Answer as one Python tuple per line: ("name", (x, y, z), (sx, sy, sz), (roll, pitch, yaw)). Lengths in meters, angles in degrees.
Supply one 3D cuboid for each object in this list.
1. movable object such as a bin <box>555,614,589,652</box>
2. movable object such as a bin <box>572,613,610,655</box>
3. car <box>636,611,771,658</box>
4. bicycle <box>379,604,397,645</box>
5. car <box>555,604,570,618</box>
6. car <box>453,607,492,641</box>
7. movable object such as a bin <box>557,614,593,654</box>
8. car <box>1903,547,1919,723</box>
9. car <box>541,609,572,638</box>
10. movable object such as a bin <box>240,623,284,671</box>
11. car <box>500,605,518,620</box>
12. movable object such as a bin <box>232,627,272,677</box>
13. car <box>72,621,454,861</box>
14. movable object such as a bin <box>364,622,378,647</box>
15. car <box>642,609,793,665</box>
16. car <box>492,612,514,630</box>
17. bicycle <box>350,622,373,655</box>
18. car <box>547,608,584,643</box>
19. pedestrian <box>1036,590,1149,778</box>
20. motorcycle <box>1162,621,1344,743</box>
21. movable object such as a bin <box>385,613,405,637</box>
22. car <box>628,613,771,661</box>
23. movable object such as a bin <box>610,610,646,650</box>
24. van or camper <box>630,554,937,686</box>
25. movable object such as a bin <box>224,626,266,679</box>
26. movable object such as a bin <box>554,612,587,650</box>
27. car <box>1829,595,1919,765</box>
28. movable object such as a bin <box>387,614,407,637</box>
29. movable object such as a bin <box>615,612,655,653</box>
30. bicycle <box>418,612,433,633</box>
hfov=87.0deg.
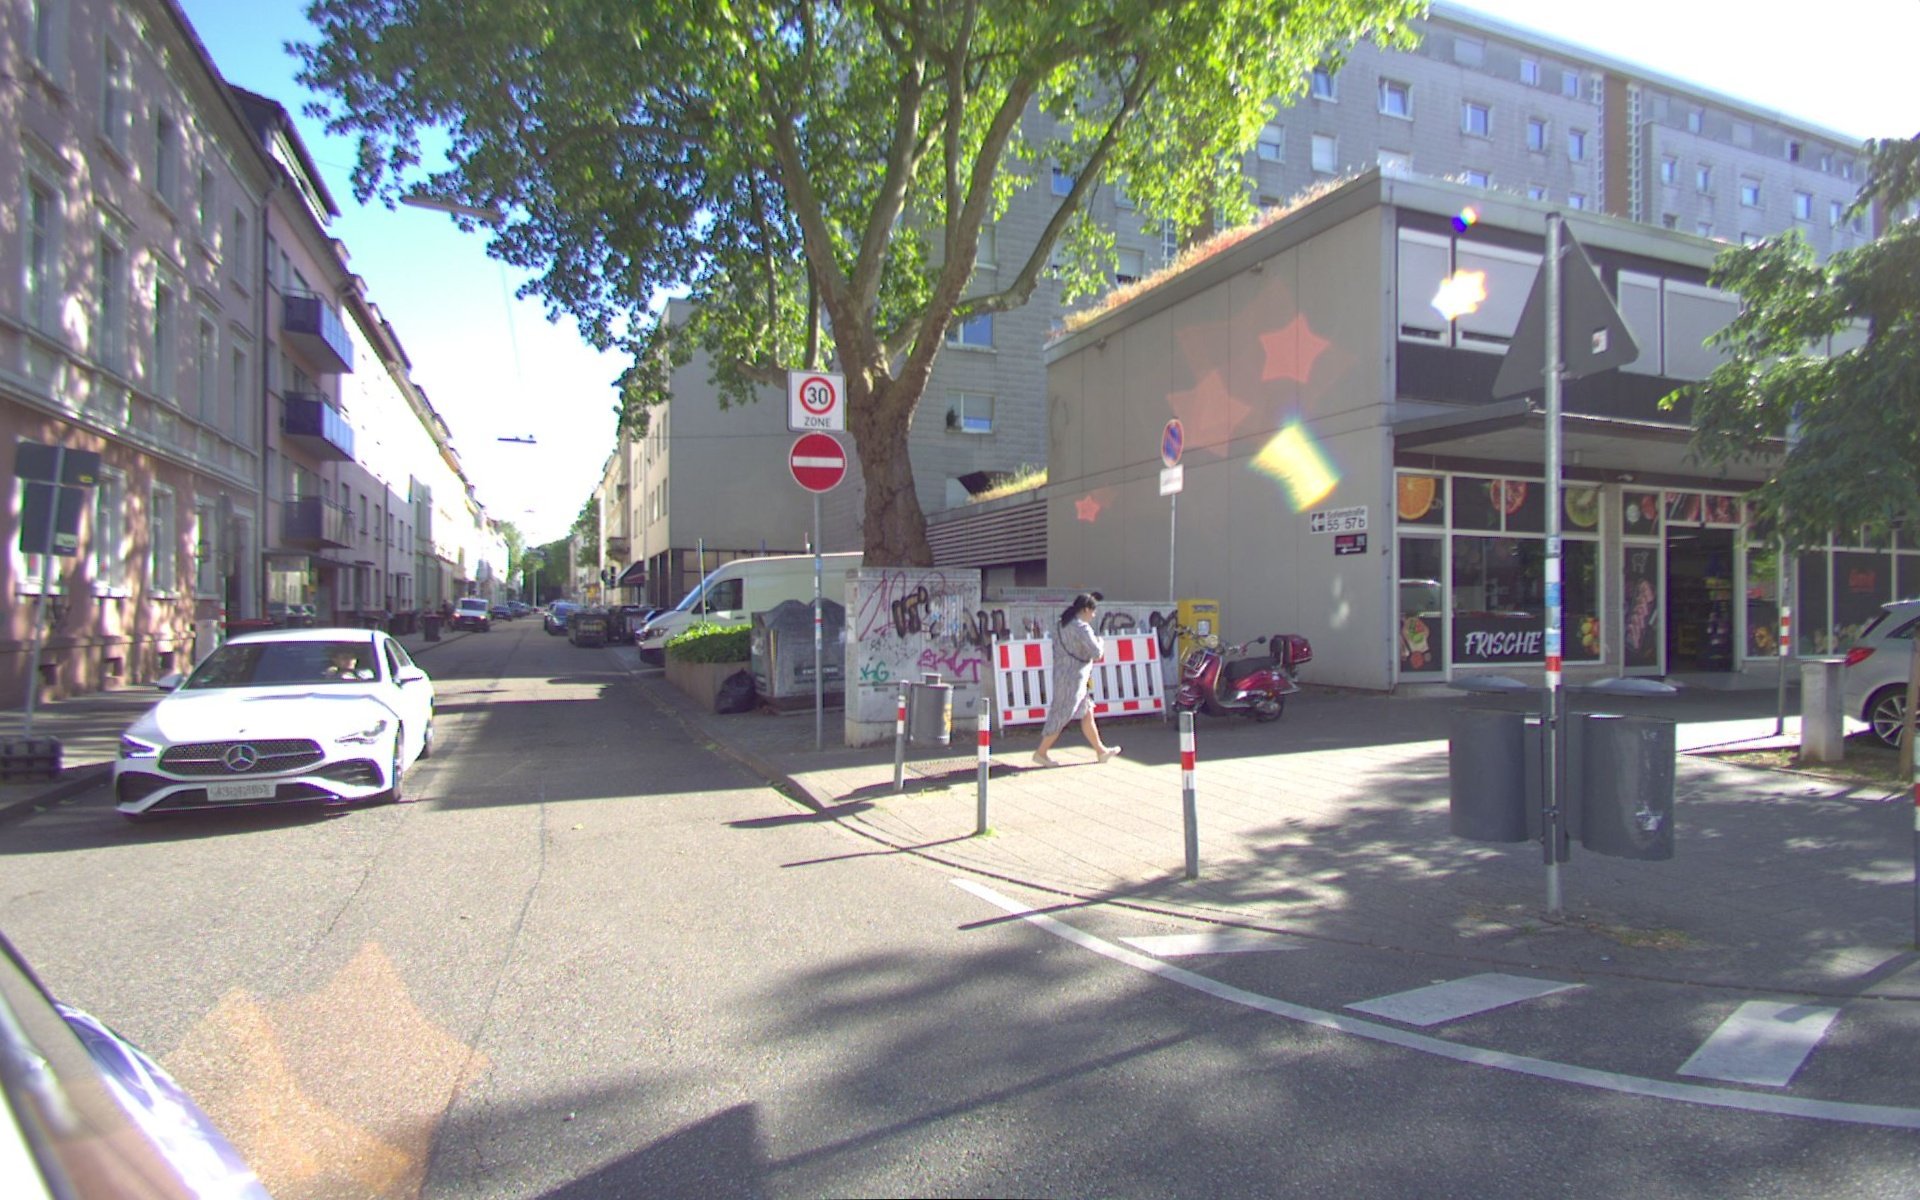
("movable object such as a bin", (-15.755, 1.330, 41.111), (1.201, 1.512, 1.565), (0, 0, -24))
("movable object such as a bin", (-13.903, 1.272, 38.142), (1.220, 1.512, 1.883), (0, 0, -24))
("car", (-9.077, 1.173, 35.874), (4.342, 1.545, 1.704), (0, -1, -28))
("bicycle", (-24.990, 1.062, 44.205), (0.396, 1.749, 2.114), (0, -1, -21))
("car", (-50.256, 1.384, 127.875), (1.736, 1.721, 4.342), (0, -1, -22))
("car", (-28.774, 1.376, 59.773), (1.736, 1.867, 4.342), (0, 0, -21))
("movable object such as a bin", (-15.023, 1.297, 39.479), (1.226, 1.512, 1.932), (0, 0, -24))
("car", (12.820, 0.435, 9.968), (1.925, 2.021, 4.761), (0, 1, -24))
("car", (-25.249, 1.458, 63.424), (1.736, 1.721, 4.342), (0, -1, -21))
("movable object such as a bin", (-16.668, 1.116, 24.180), (0.706, 1.092, 0.620), (3, -2, -23))
("car", (-53.027, 1.491, 119.040), (1.736, 1.721, 4.342), (0, -1, -22))
("movable object such as a bin", (-15.659, 1.139, 22.397), (0.561, 1.066, 0.614), (3, -2, -23))
("car", (-5.840, 0.985, 9.155), (1.831, 1.468, 4.577), (-1, 0, -21))
("movable object such as a bin", (-22.897, 1.333, 39.336), (0.409, 0.947, 0.303), (3, -2, -23))
("car", (-7.630, 1.112, 31.870), (4.342, 1.629, 1.704), (0, 0, -28))
("car", (-43.145, 1.962, 95.646), (1.736, 1.721, 4.342), (0, -1, -22))
("bicycle", (-21.910, 1.381, 37.067), (0.396, 1.159, 2.031), (0, 0, -21))
("car", (-20.632, 1.309, 52.927), (1.736, 1.721, 4.342), (0, 0, -21))
("pedestrian", (1.156, 0.708, 9.008), (0.834, 1.585, 0.847), (-1, 0, -2))
("motorcycle", (3.242, 0.872, 11.198), (1.889, 1.189, 0.672), (-2, 0, -22))
("movable object such as a bin", (-25.588, 1.131, 45.847), (0.705, 1.010, 0.548), (3, -2, -23))
("car", (-8.632, 1.191, 33.615), (4.342, 1.474, 1.605), (0, -1, -28))
("movable object such as a bin", (-12.948, 1.145, 39.451), (1.201, 1.512, 1.522), (0, 0, -24))
("van or camper", (-4.168, 0.394, 24.159), (6.809, 2.593, 2.006), (-4, 0, -21))
("movable object such as a bin", (-15.399, 1.126, 21.813), (0.561, 1.092, 0.656), (3, -2, -23))
("movable object such as a bin", (-16.389, 1.287, 42.573), (1.201, 1.512, 1.565), (0, 0, -24))
("car", (10.572, 0.756, 8.745), (1.728, 1.625, 4.318), (0, -1, -23))
("movable object such as a bin", (-25.807, 1.153, 46.398), (0.705, 1.010, 0.548), (3, -2, -23))
("movable object such as a bin", (-12.245, 1.209, 38.156), (1.306, 1.512, 1.199), (0, 0, -24))
("bicycle", (-28.251, 1.169, 53.468), (0.481, 1.104, 1.939), (0, 0, -21))
